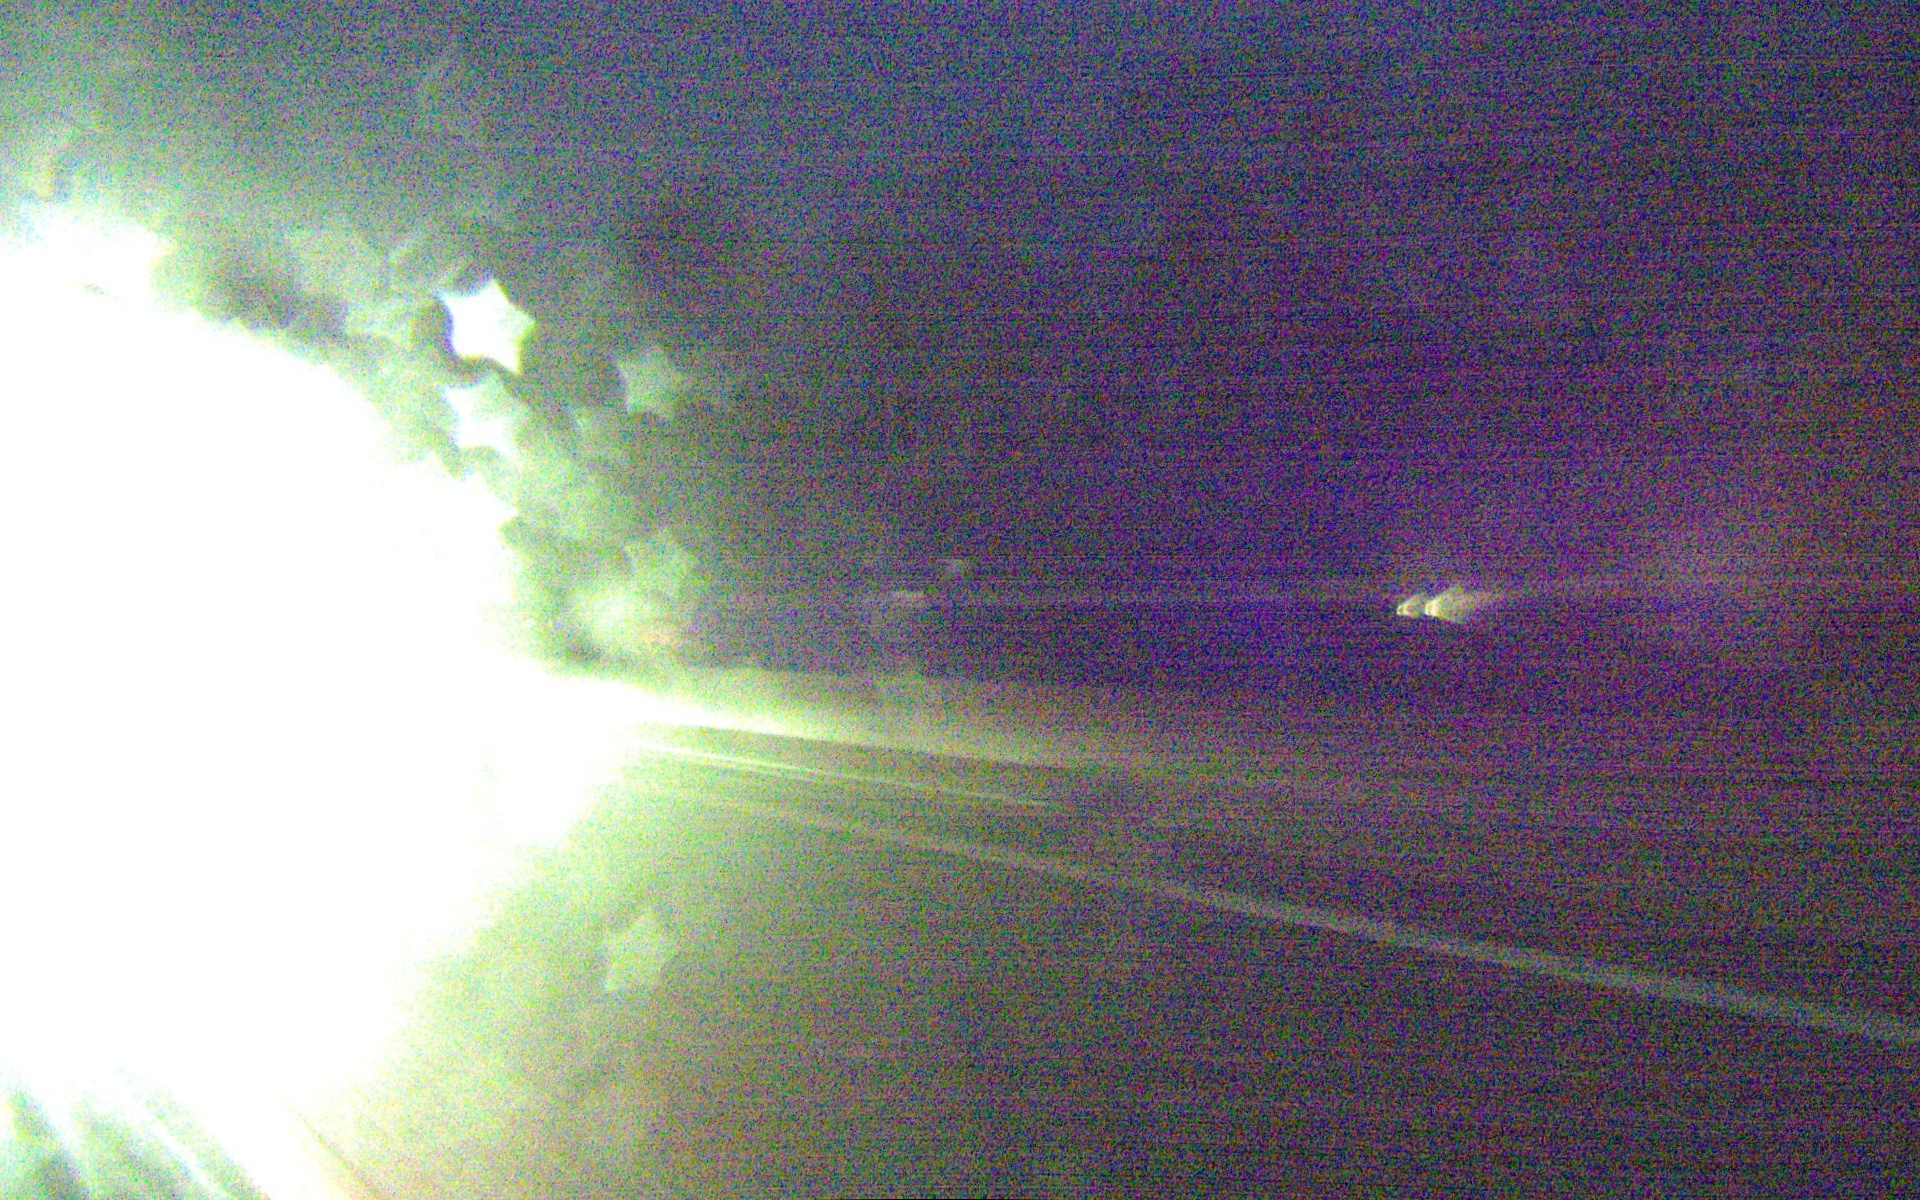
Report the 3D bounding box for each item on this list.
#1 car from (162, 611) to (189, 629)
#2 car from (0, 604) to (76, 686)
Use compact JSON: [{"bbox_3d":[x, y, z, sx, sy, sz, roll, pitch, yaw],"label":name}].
[{"bbox_3d":[-93.537,2.381,120.633,1.971,1.866,4.003,-6,2,-44],"label":"car"},{"bbox_3d":[-25.984,1.248,27.776,3.998,2.028,1.973,-3,1,41],"label":"car"}]
